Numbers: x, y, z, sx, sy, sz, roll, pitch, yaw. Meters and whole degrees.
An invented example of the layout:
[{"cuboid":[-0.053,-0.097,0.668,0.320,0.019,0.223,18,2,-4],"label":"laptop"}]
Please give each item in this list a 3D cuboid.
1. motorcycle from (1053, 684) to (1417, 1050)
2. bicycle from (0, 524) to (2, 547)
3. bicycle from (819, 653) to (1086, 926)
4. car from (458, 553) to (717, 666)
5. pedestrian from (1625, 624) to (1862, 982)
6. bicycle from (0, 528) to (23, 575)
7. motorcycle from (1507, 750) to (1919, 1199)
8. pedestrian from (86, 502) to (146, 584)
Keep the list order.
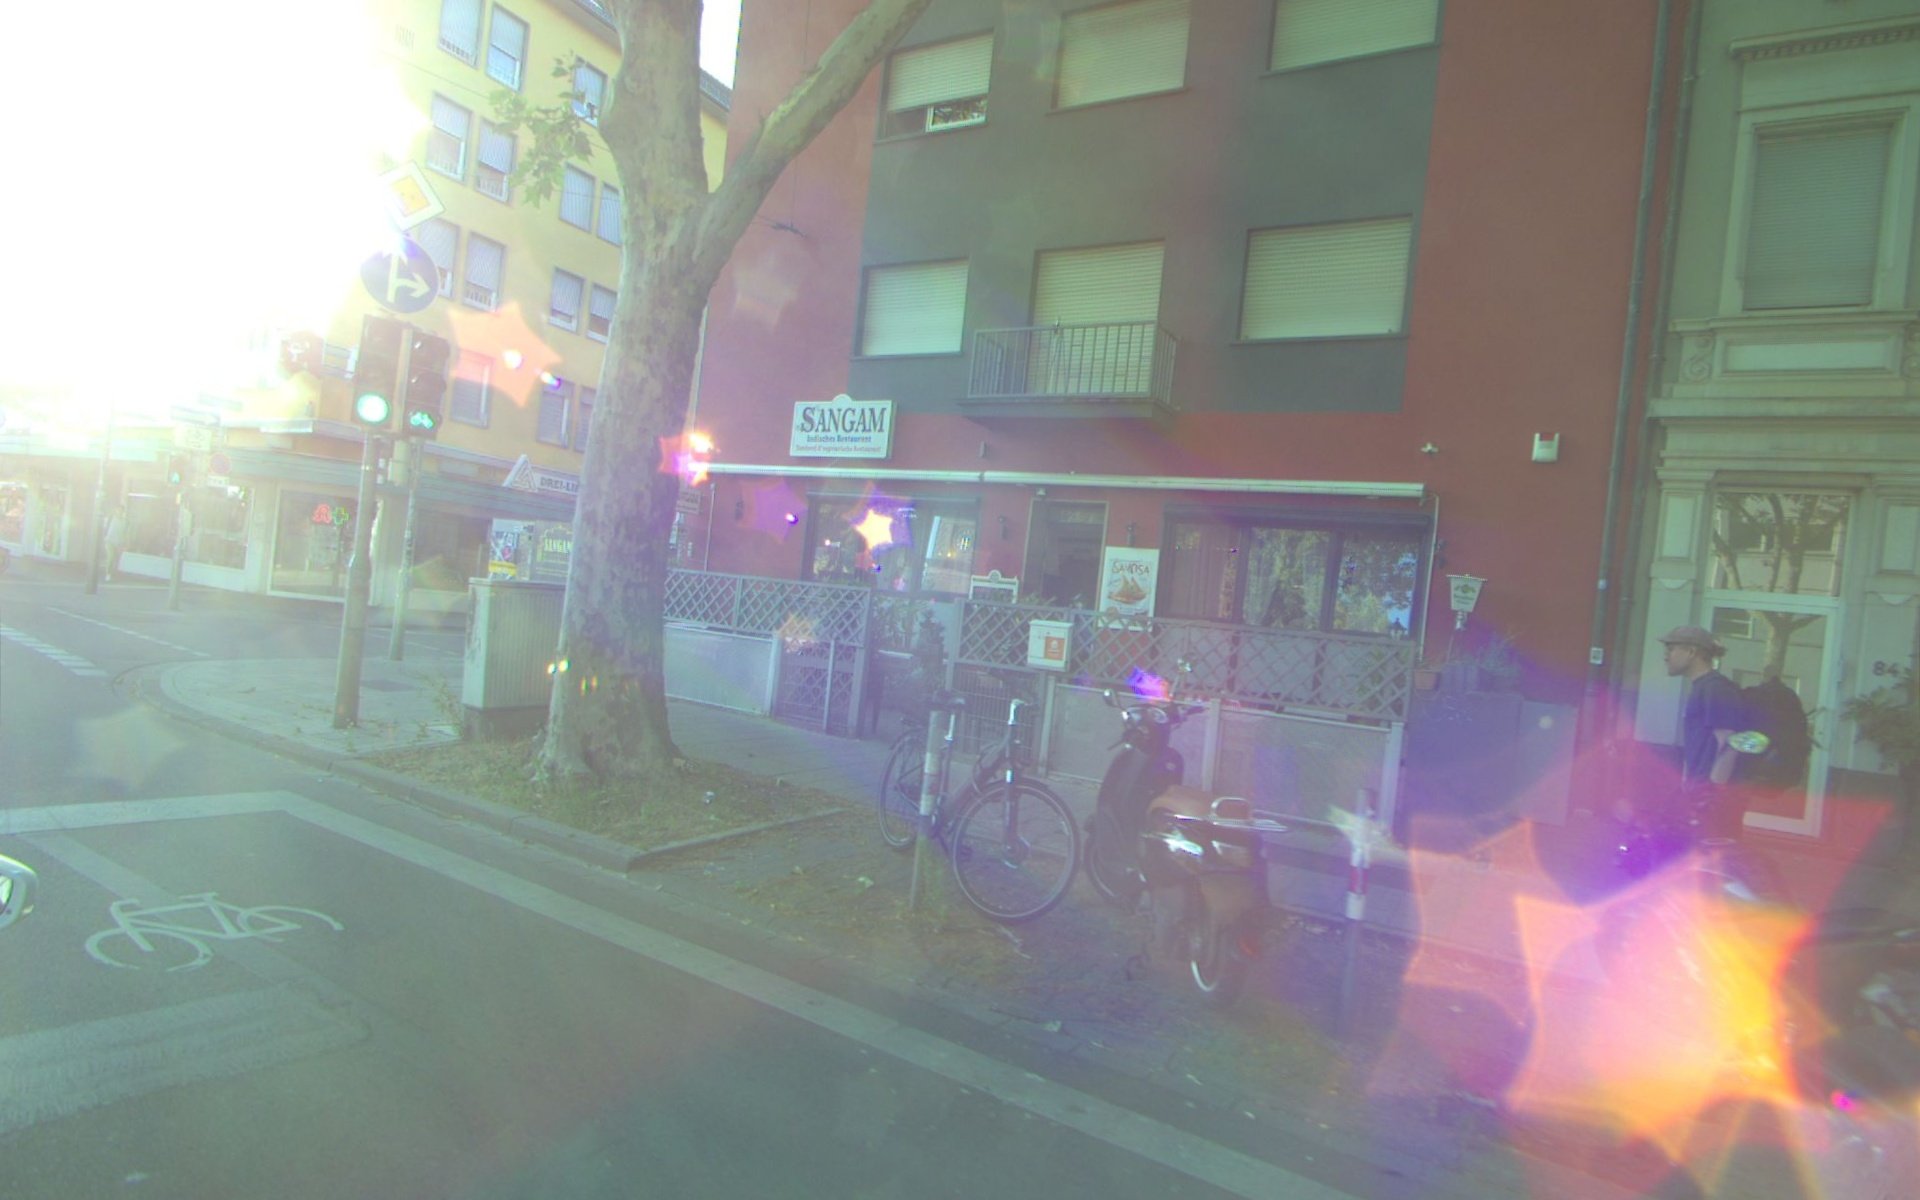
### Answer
[{"cuboid":[1.134,1.105,4.731,0.772,1.125,1.885,6,2,-11],"label":"motorcycle"},{"cuboid":[-22.357,-1.287,22.313,0.446,1.020,1.486,6,0,27],"label":"bicycle"},{"cuboid":[-0.126,0.998,5.846,0.614,1.126,1.784,5,2,-32],"label":"bicycle"},{"cuboid":[-6.848,0.255,18.982,1.743,1.707,4.348,6,-1,30],"label":"car"},{"cuboid":[4.249,1.035,5.542,0.802,1.734,0.726,5,2,31],"label":"pedestrian"},{"cuboid":[-21.867,-1.123,22.074,0.531,1.021,1.800,6,1,27],"label":"bicycle"},{"cuboid":[2.906,1.317,3.629,0.651,1.125,2.212,7,2,4],"label":"motorcycle"},{"cuboid":[-19.695,-1.330,23.479,0.880,1.802,0.744,5,1,31],"label":"pedestrian"}]
